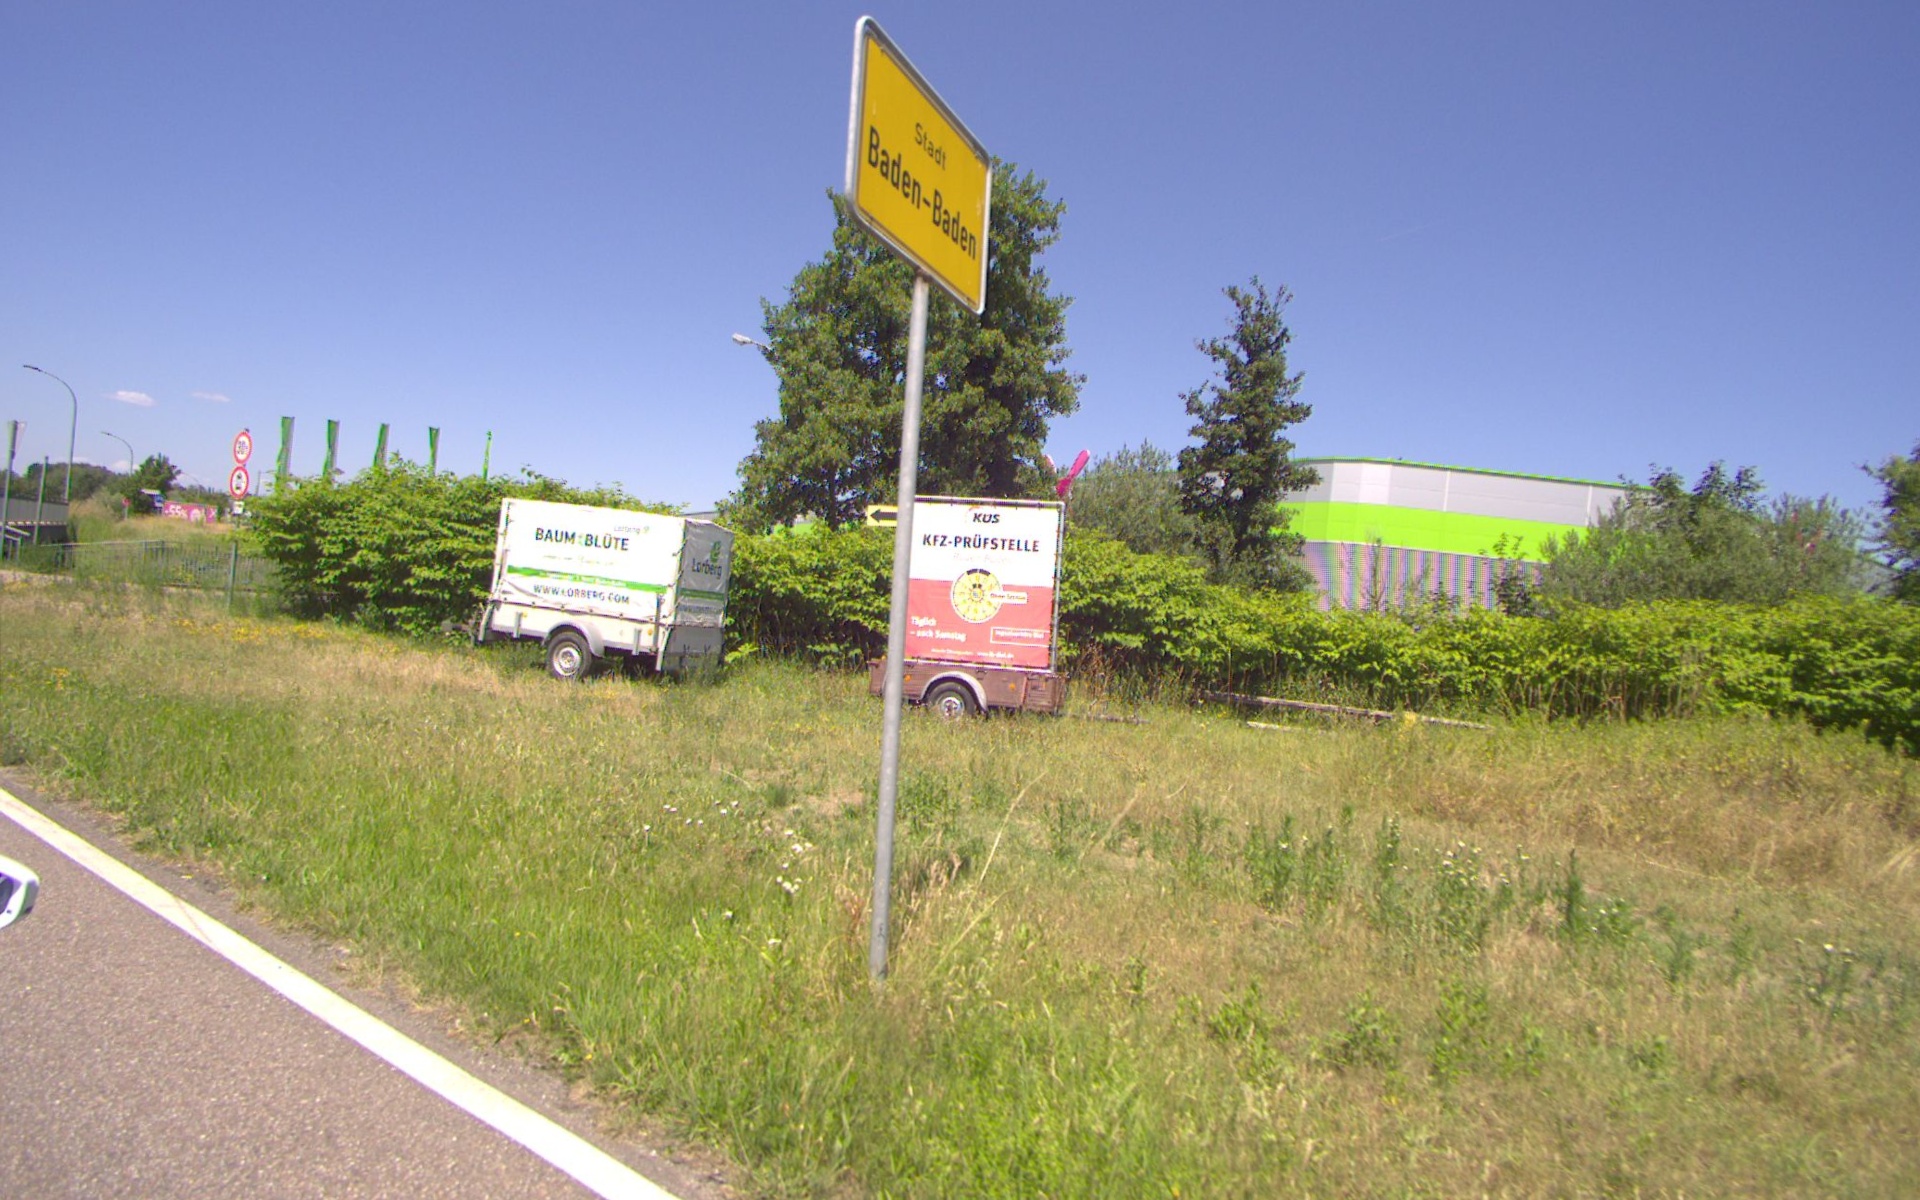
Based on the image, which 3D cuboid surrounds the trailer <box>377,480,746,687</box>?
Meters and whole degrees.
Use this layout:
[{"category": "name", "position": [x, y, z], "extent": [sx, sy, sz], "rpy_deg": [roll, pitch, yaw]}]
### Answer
[{"category": "trailer", "position": [-5.056, -0.197, 12.990], "extent": [3.893, 2.103, 1.853], "rpy_deg": [6, 0, 12]}]

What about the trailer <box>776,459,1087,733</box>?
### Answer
[{"category": "trailer", "position": [-0.253, -0.044, 11.964], "extent": [3.087, 2.703, 1.853], "rpy_deg": [6, 0, 12]}]
